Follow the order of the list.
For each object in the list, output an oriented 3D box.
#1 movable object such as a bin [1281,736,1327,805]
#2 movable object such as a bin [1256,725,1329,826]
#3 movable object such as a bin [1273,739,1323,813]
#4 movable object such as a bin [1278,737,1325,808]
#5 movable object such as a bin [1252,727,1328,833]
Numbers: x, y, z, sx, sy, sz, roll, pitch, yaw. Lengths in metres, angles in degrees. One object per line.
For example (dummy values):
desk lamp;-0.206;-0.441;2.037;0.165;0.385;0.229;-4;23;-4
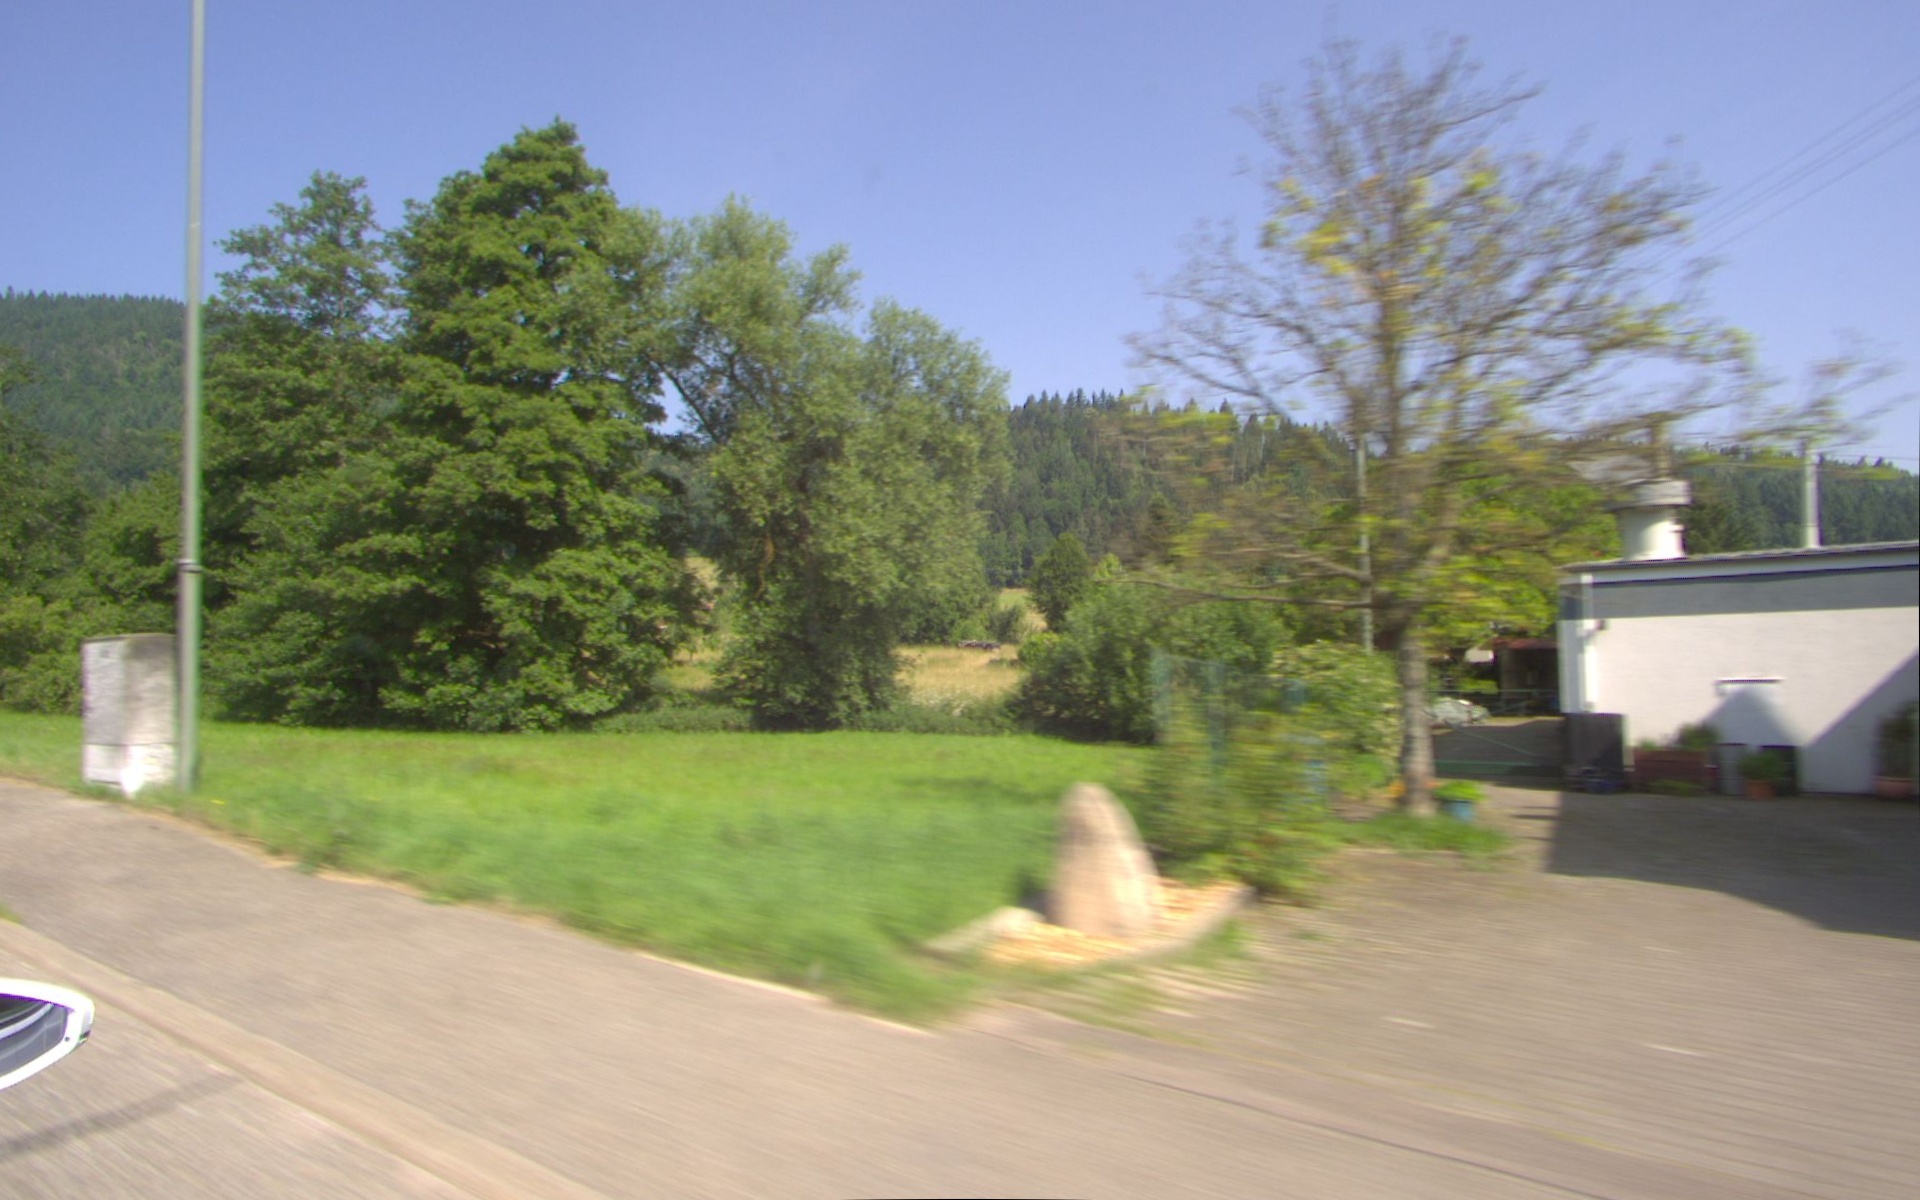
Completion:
movable object such as a bin;4.862;2.397;14.146;0.577;0.910;0.419;-1;-4;23
movable object such as a bin;4.021;2.098;12.092;0.785;1.132;0.569;-1;-4;23
movable object such as a bin;4.491;2.318;13.291;0.576;0.910;0.569;-1;-4;23
movable object such as a bin;4.692;2.360;13.750;0.577;0.910;0.419;-1;-4;23
movable object such as a bin;3.802;2.048;11.542;0.780;1.132;0.569;-1;-4;23
